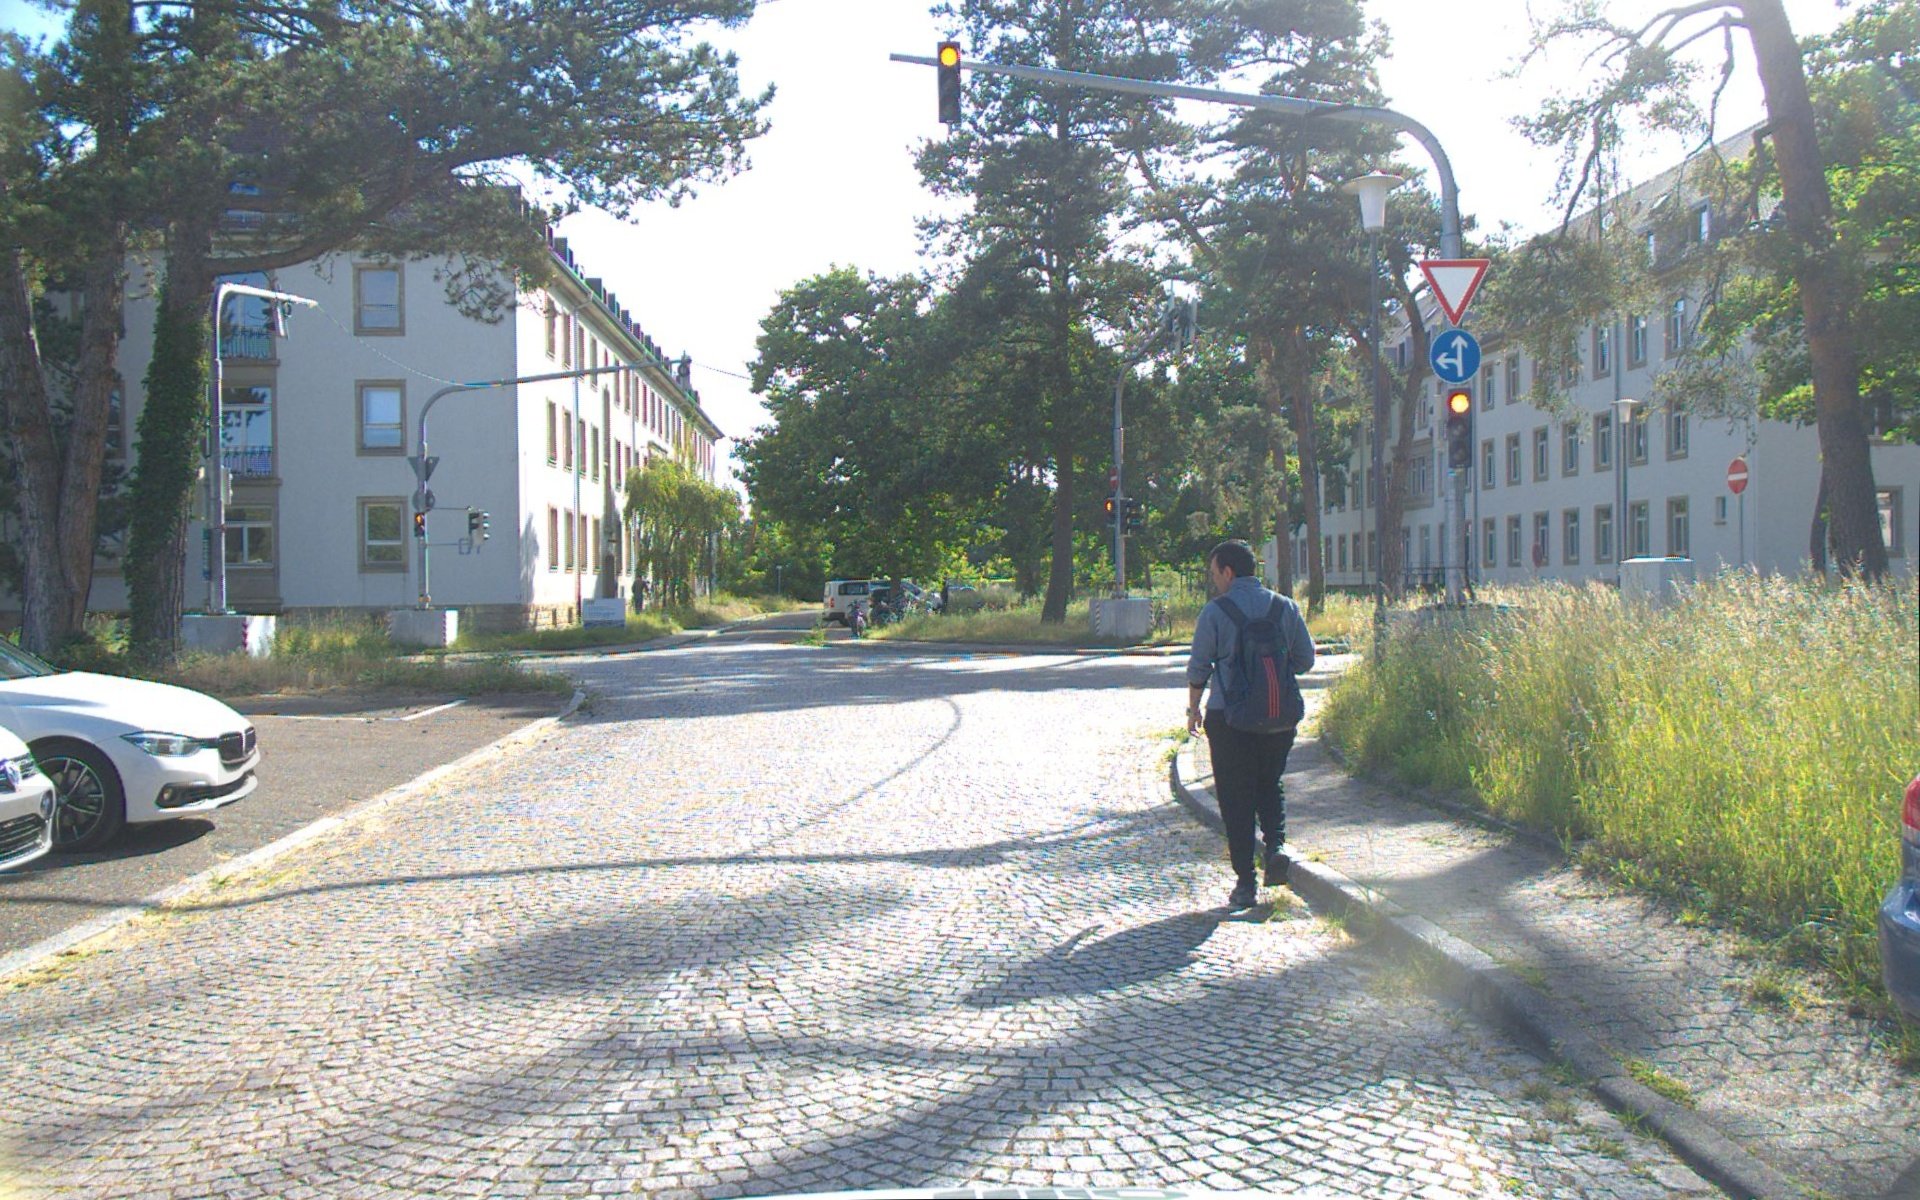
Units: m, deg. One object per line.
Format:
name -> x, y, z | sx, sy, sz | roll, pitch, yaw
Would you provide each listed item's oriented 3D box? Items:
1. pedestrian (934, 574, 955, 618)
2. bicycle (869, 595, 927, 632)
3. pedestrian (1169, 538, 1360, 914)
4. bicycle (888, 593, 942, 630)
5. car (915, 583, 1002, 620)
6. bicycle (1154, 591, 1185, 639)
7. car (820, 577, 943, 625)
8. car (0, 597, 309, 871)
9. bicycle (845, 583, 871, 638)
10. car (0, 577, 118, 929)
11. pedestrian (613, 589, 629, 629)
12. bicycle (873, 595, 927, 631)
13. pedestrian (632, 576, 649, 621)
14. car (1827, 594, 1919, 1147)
pedestrian -> -0.636, -0.166, 69.088 | 0.746, 1.815, 0.682 | -1, 0, -11
bicycle -> -1.964, 0.422, 52.659 | 1.799, 1.131, 0.494 | -1, 0, -7
pedestrian -> 1.476, 0.585, 8.146 | 0.738, 1.755, 0.828 | 0, 0, -4
bicycle -> -1.481, 0.366, 53.934 | 1.694, 1.185, 0.560 | -1, 0, -7
car -> -0.080, 0.060, 74.568 | 3.676, 1.607, 1.737 | -1, 0, -11
bicycle -> 5.210, 0.348, 41.206 | 0.706, 1.134, 2.585 | -1, 0, 6
car -> -3.349, 0.019, 70.483 | 4.979, 1.951, 1.993 | -1, 1, -13
car -> -6.472, 0.753, 10.534 | 3.905, 1.522, 1.773 | 2, 1, 1
bicycle -> -3.066, 0.294, 49.519 | 0.738, 1.608, 2.535 | -1, 1, -4
car -> -6.407, 0.671, 7.955 | 3.804, 1.643, 1.659 | 1, 0, -5
pedestrian -> -13.496, 0.343, 65.803 | 0.596, 1.587, 0.544 | -1, 0, -10
bicycle -> -1.930, 0.417, 53.207 | 1.694, 1.131, 0.483 | -1, 0, -7
pedestrian -> -12.695, -0.062, 65.632 | 0.597, 1.783, 0.627 | -1, 0, -17
car -> 4.364, 0.657, 4.053 | 3.601, 1.468, 1.664 | -3, 1, -4
